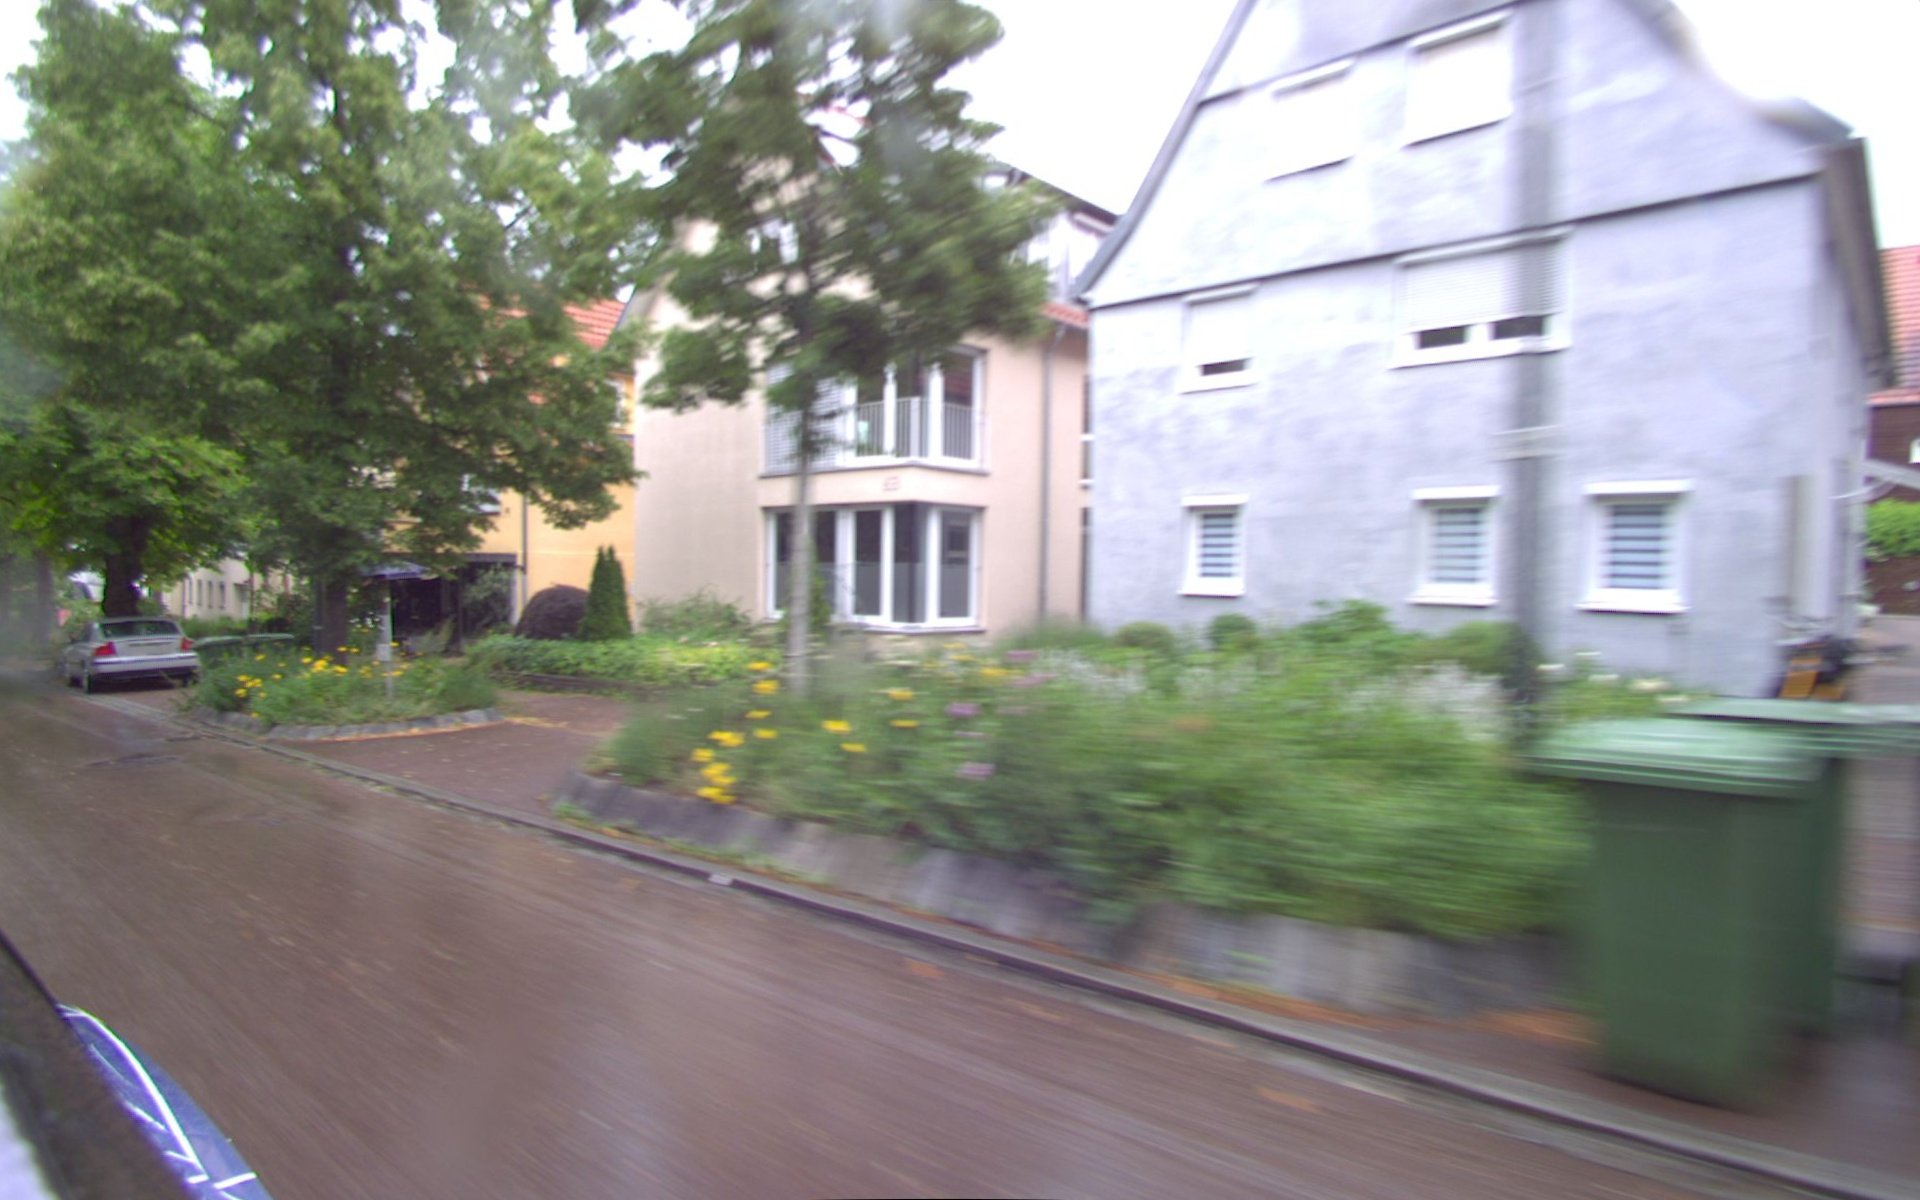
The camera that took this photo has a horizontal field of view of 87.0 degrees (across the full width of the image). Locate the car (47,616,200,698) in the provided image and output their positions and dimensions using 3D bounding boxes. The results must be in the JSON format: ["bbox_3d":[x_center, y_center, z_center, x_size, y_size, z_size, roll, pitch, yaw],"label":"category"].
[{"bbox_3d":[-17.174,1.096,20.693,4.545,1.399,1.753,-1,1,43],"label":"car"}]

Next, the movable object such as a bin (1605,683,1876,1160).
[{"bbox_3d":[2.259,0.827,2.923,0.536,1.119,0.636,-2,-2,43],"label":"movable object such as a bin"}]

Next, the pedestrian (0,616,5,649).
[{"bbox_3d":[-47.462,1.598,49.773,0.931,1.606,0.643,-1,0,41],"label":"pedestrian"}]

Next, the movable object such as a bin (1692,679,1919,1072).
[{"bbox_3d":[2.879,0.854,3.417,0.564,1.119,0.604,-2,-2,43],"label":"movable object such as a bin"}]

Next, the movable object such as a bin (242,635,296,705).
[{"bbox_3d":[-11.183,1.116,16.379,0.545,1.070,0.588,-1,1,45],"label":"movable object such as a bin"}]

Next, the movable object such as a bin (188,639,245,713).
[{"bbox_3d":[-11.623,1.176,15.815,0.545,1.070,0.588,-2,2,45],"label":"movable object such as a bin"}]

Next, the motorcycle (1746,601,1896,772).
[{"bbox_3d":[6.927,0.614,8.147,0.817,1.171,1.961,-1,0,41],"label":"motorcycle"}]
